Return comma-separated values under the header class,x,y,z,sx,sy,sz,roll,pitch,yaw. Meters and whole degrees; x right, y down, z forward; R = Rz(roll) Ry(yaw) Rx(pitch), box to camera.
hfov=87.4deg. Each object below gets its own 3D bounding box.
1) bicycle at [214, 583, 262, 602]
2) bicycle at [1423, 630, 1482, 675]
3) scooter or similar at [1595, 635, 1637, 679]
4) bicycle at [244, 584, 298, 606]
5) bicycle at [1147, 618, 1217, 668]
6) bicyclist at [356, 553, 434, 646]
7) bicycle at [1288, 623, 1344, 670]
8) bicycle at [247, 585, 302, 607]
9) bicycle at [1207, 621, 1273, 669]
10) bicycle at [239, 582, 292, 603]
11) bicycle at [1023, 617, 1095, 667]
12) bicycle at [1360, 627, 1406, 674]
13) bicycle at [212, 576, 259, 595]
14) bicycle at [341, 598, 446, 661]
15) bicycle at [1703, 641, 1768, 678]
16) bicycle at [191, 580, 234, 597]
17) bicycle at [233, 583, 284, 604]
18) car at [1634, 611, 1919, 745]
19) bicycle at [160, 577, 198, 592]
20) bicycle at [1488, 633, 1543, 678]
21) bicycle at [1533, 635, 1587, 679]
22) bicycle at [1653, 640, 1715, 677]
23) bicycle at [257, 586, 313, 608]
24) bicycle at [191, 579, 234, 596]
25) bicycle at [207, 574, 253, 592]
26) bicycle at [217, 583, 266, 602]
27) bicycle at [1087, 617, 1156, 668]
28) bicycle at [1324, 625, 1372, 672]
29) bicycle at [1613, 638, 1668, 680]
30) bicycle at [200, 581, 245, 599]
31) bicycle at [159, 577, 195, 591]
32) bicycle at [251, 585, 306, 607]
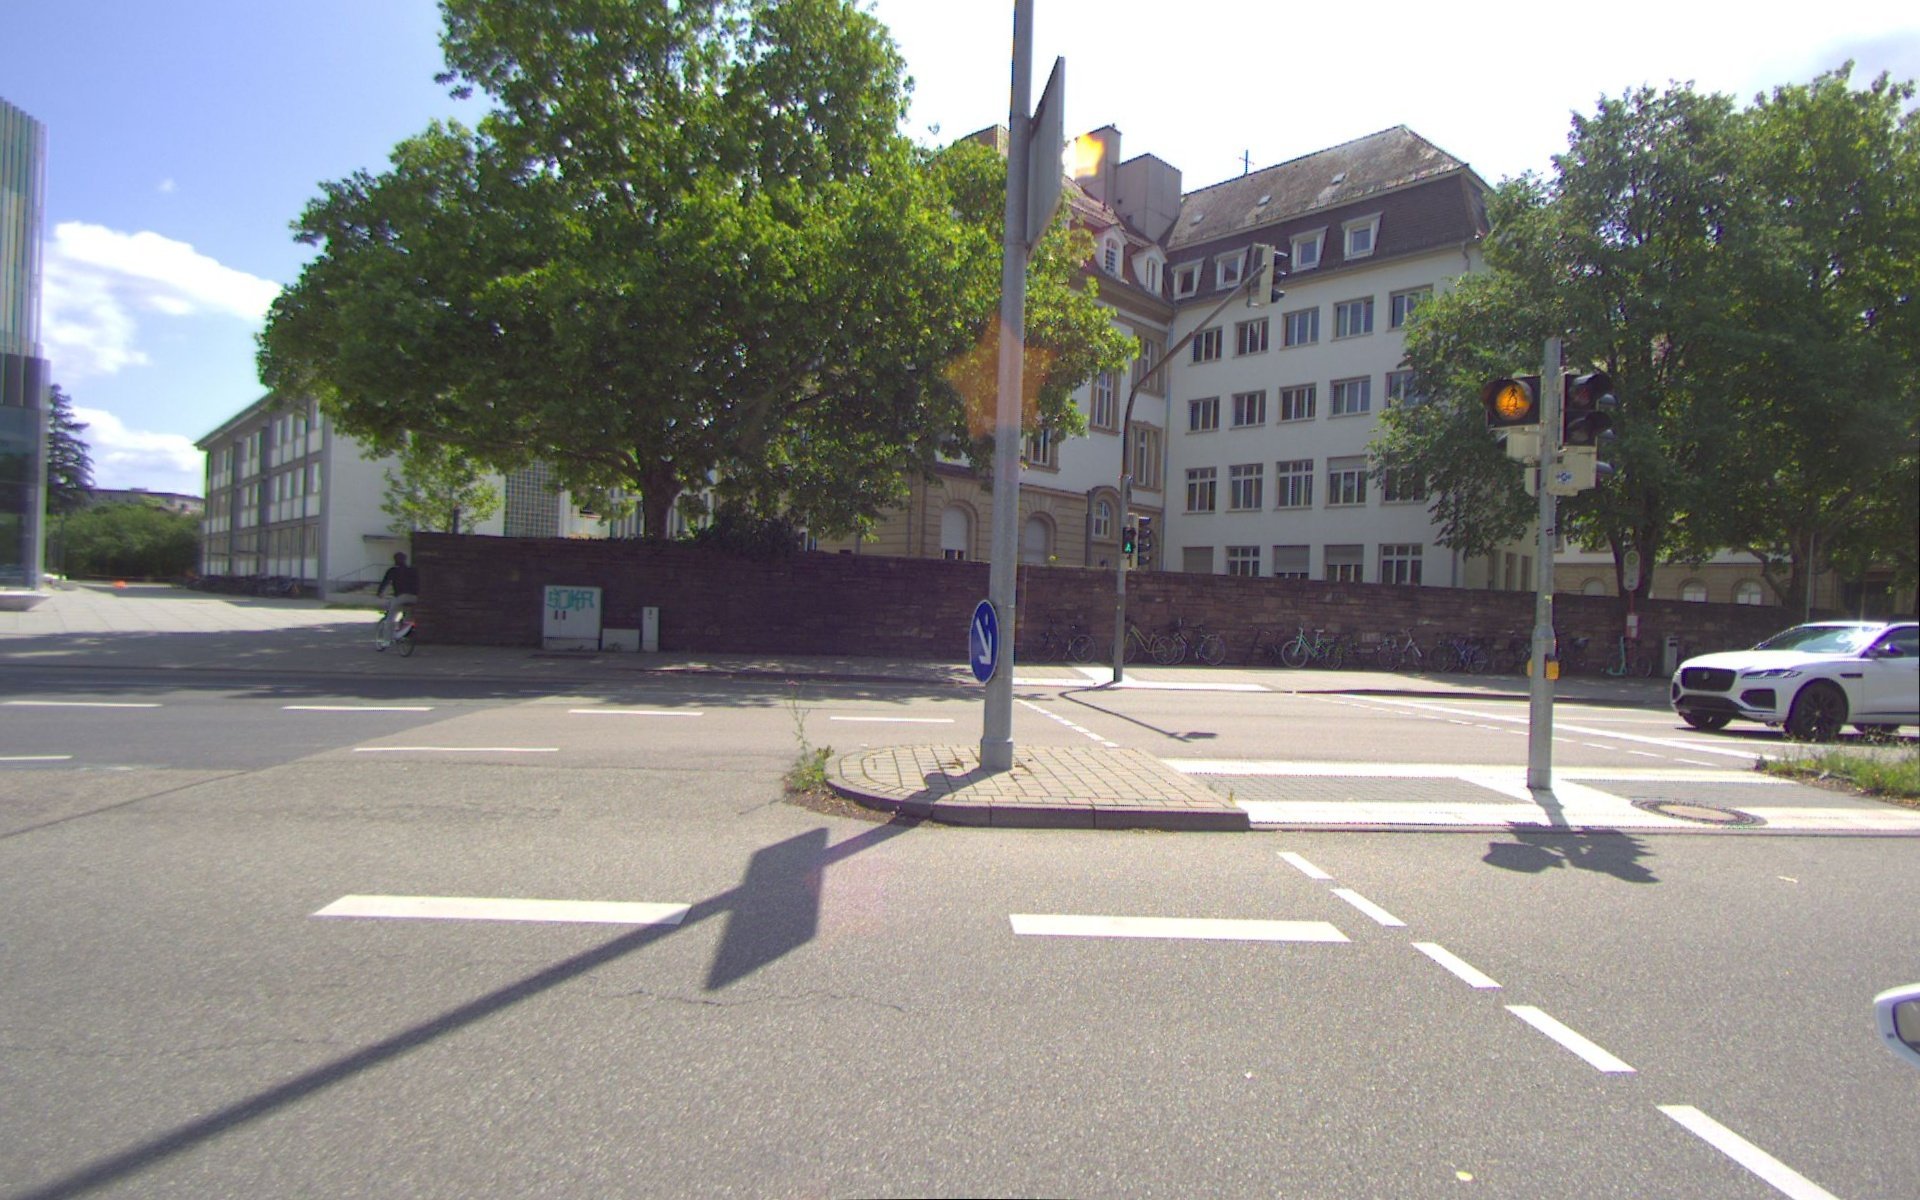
class,x,y,z,sx,sy,sz,roll,pitch,yaw
bicycle,-42.350,-0.459,58.912,2.230,1.030,0.644,2,0,-40
bicycle,13.141,1.408,26.816,1.569,1.168,0.401,2,0,-19
scooter or similar,18.011,1.576,27.580,1.178,1.168,0.430,2,0,-28
bicycle,-35.539,-0.249,51.848,2.230,1.030,0.644,2,0,-40
bicycle,5.461,1.047,24.716,1.568,1.168,0.621,2,0,-16
bicyclist,-10.680,-0.013,18.988,1.089,1.690,0.784,2,0,27
bicycle,9.136,1.196,25.751,1.576,1.168,0.399,2,0,-31
bicycle,-34.698,-0.214,50.833,2.230,1.030,0.644,2,0,-40
bicycle,7.040,1.128,25.233,1.567,1.168,0.412,2,0,-13
bicycle,-36.980,-0.414,53.497,2.230,1.030,0.644,2,0,-40
bicycle,2.351,0.994,23.822,1.568,1.113,0.571,2,0,-16
bicycle,10.958,1.294,25.983,1.581,1.168,0.398,2,0,-40
bicycle,-42.918,-0.849,59.526,2.230,1.030,0.644,2,0,-40
bicycle,-10.726,0.548,19.015,1.860,1.077,0.816,2,0,27
bicycle,23.190,1.782,30.030,1.920,1.061,0.543,2,0,-19
bicycle,-50.159,-0.762,67.426,2.230,1.030,0.644,2,0,-40
bicycle,-38.049,-0.352,54.500,2.230,1.030,0.644,2,0,-40
car,12.601,1.085,14.349,4.685,1.689,2.076,2,0,-6
bicycle,-59.429,-1.163,76.451,2.230,1.030,0.644,2,0,-40
bicycle,14.989,1.487,27.102,1.575,1.168,0.530,2,0,-29
bicycle,16.621,1.573,27.813,1.575,1.168,0.530,2,0,-29
bicycle,21.176,1.706,29.378,1.772,1.021,0.480,2,0,-16
bicycle,-33.057,-0.146,49.213,2.230,1.030,0.644,2,0,-40
bicycle,-49.533,-0.842,66.600,2.230,1.030,0.644,2,0,-40
bicycle,-45.198,-1.022,62.187,2.230,1.030,0.644,2,0,-40
bicycle,-41.432,-0.420,57.926,2.230,1.030,0.644,2,0,-40
bicycle,3.898,1.022,24.276,1.568,1.168,0.499,2,0,-16
bicycle,9.931,1.241,25.701,1.581,1.168,0.398,2,0,-40
bicycle,19.555,1.700,28.850,1.570,1.158,0.431,2,0,-20
bicycle,-47.015,-0.647,64.028,2.230,1.030,0.644,2,0,-40
bicycle,-61.251,-1.226,78.572,2.230,1.030,0.644,2,0,-40
bicycle,-34.037,-0.187,50.199,2.230,1.030,0.644,2,0,-40
